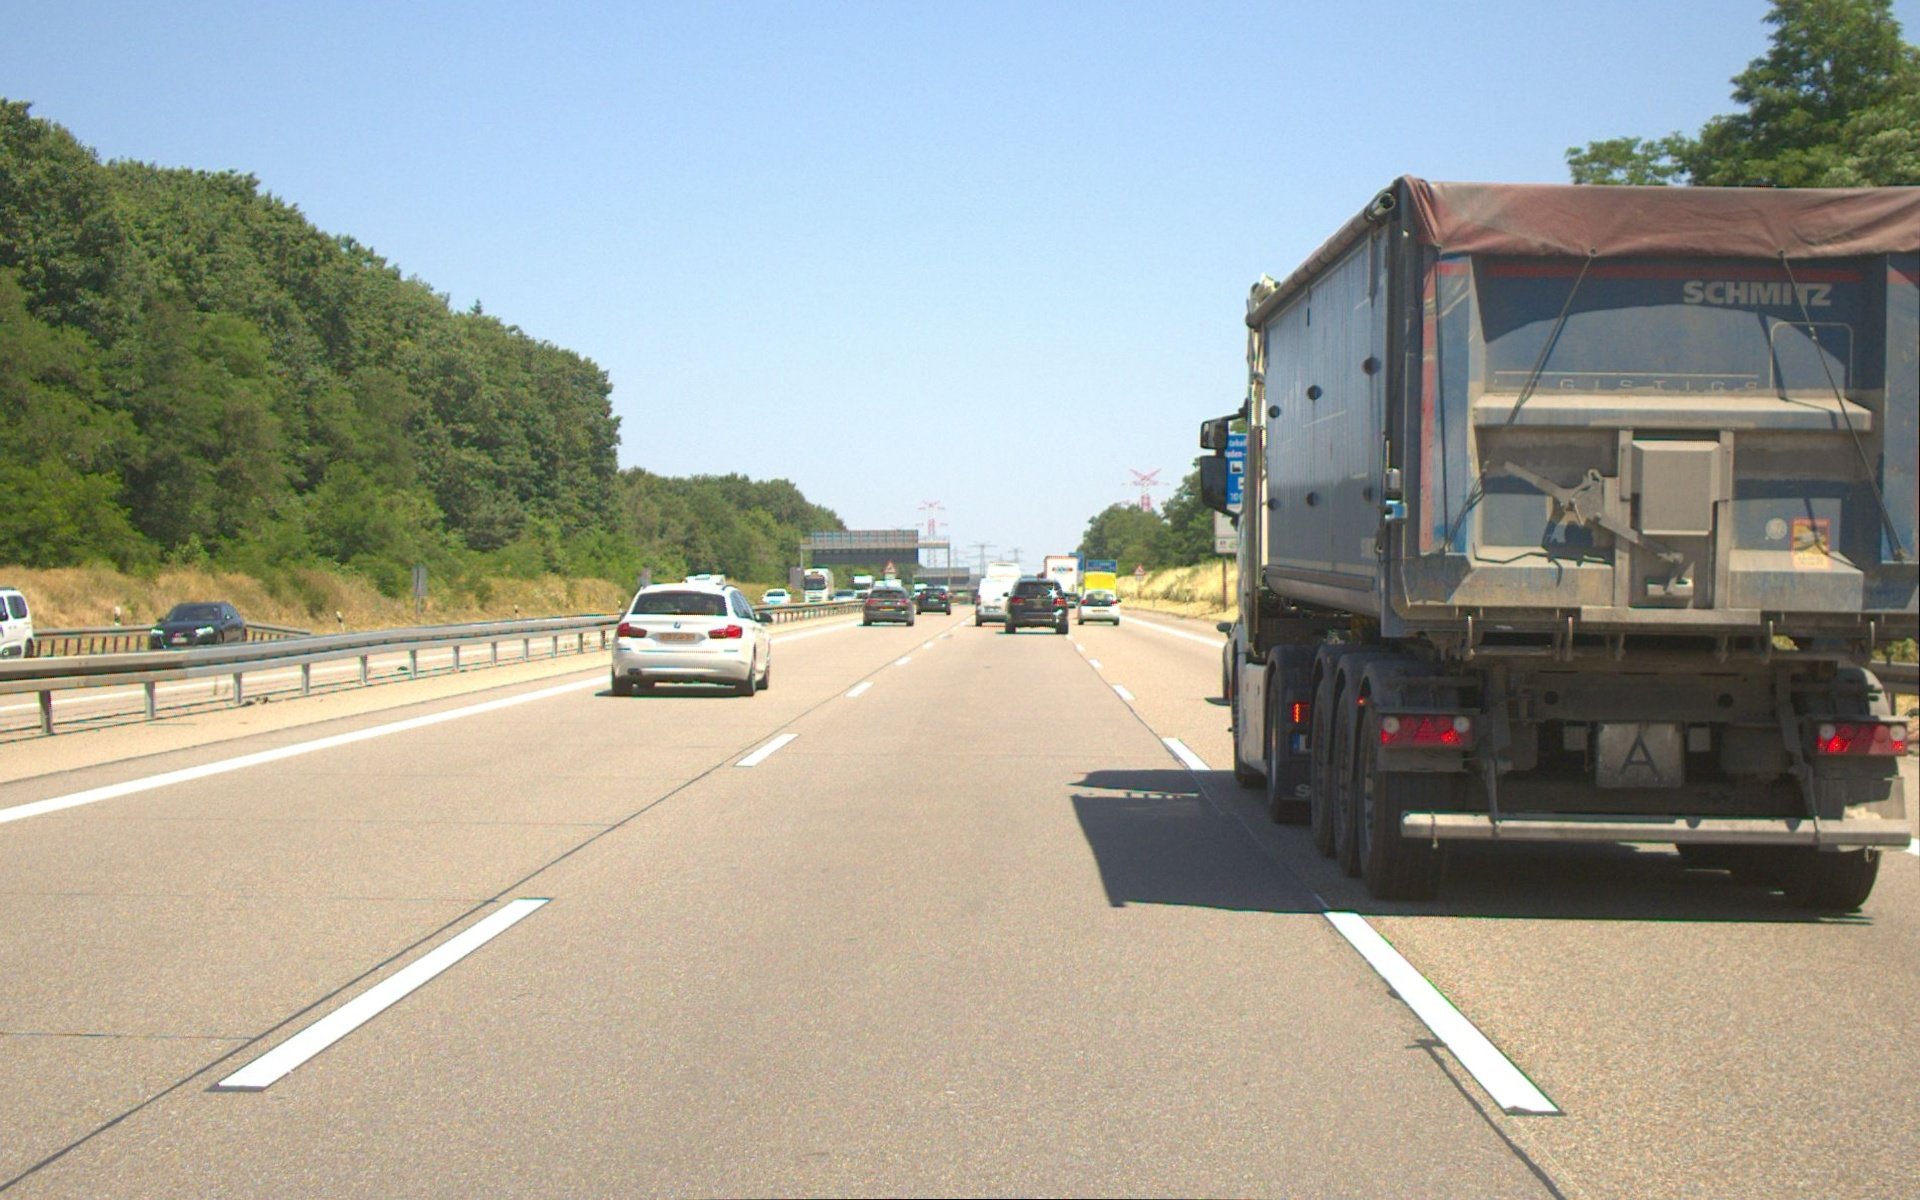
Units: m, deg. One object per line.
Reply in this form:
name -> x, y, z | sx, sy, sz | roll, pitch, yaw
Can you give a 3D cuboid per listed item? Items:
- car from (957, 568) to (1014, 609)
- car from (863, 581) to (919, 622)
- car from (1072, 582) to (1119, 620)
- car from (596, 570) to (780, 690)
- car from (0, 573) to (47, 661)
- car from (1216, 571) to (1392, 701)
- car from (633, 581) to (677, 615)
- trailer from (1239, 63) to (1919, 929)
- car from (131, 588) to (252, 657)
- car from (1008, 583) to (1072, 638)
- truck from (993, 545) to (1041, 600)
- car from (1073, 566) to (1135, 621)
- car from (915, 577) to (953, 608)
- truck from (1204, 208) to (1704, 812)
car -> 0.938, -0.443, 129.648 | 1.894, 1.464, 4.262 | 1, 1, -3
car -> -2.501, 0.029, 126.055 | 1.832, 1.427, 4.999 | 1, 1, 1
car -> 5.510, 0.061, 139.959 | 1.821, 1.486, 3.737 | 1, 0, 1
car -> -3.598, 0.373, 46.398 | 1.964, 1.498, 5.404 | 1, 0, 1
car -> -20.840, 0.371, 72.175 | 1.993, 1.821, 4.642 | -2, 0, 1
car -> 4.260, 0.419, 43.042 | 1.719, 1.486, 3.737 | 1, 1, -1
car -> -18.172, -0.112, 205.310 | 1.993, 1.946, 5.244 | -2, 0, 1
trailer -> 3.248, -0.519, 19.493 | 2.737, 3.746, 9.109 | 0, 1, 1
car -> -20.372, 0.572, 91.324 | 1.993, 1.698, 4.979 | -2, 0, 1
car -> 2.533, 0.329, 109.544 | 1.832, 1.666, 4.000 | 2, 0, -1
truck -> 3.104, -1.477, 188.490 | 2.428, 2.874, 6.205 | 1, 0, -1
car -> 7.033, -0.303, 168.554 | 2.666, 2.625, 6.113 | 1, 0, -1
car -> -1.364, -0.400, 180.179 | 1.876, 1.575, 3.928 | 1, 1, 1
truck -> 3.291, -0.604, 24.403 | 2.684, 3.746, 5.944 | 0, 1, 0
